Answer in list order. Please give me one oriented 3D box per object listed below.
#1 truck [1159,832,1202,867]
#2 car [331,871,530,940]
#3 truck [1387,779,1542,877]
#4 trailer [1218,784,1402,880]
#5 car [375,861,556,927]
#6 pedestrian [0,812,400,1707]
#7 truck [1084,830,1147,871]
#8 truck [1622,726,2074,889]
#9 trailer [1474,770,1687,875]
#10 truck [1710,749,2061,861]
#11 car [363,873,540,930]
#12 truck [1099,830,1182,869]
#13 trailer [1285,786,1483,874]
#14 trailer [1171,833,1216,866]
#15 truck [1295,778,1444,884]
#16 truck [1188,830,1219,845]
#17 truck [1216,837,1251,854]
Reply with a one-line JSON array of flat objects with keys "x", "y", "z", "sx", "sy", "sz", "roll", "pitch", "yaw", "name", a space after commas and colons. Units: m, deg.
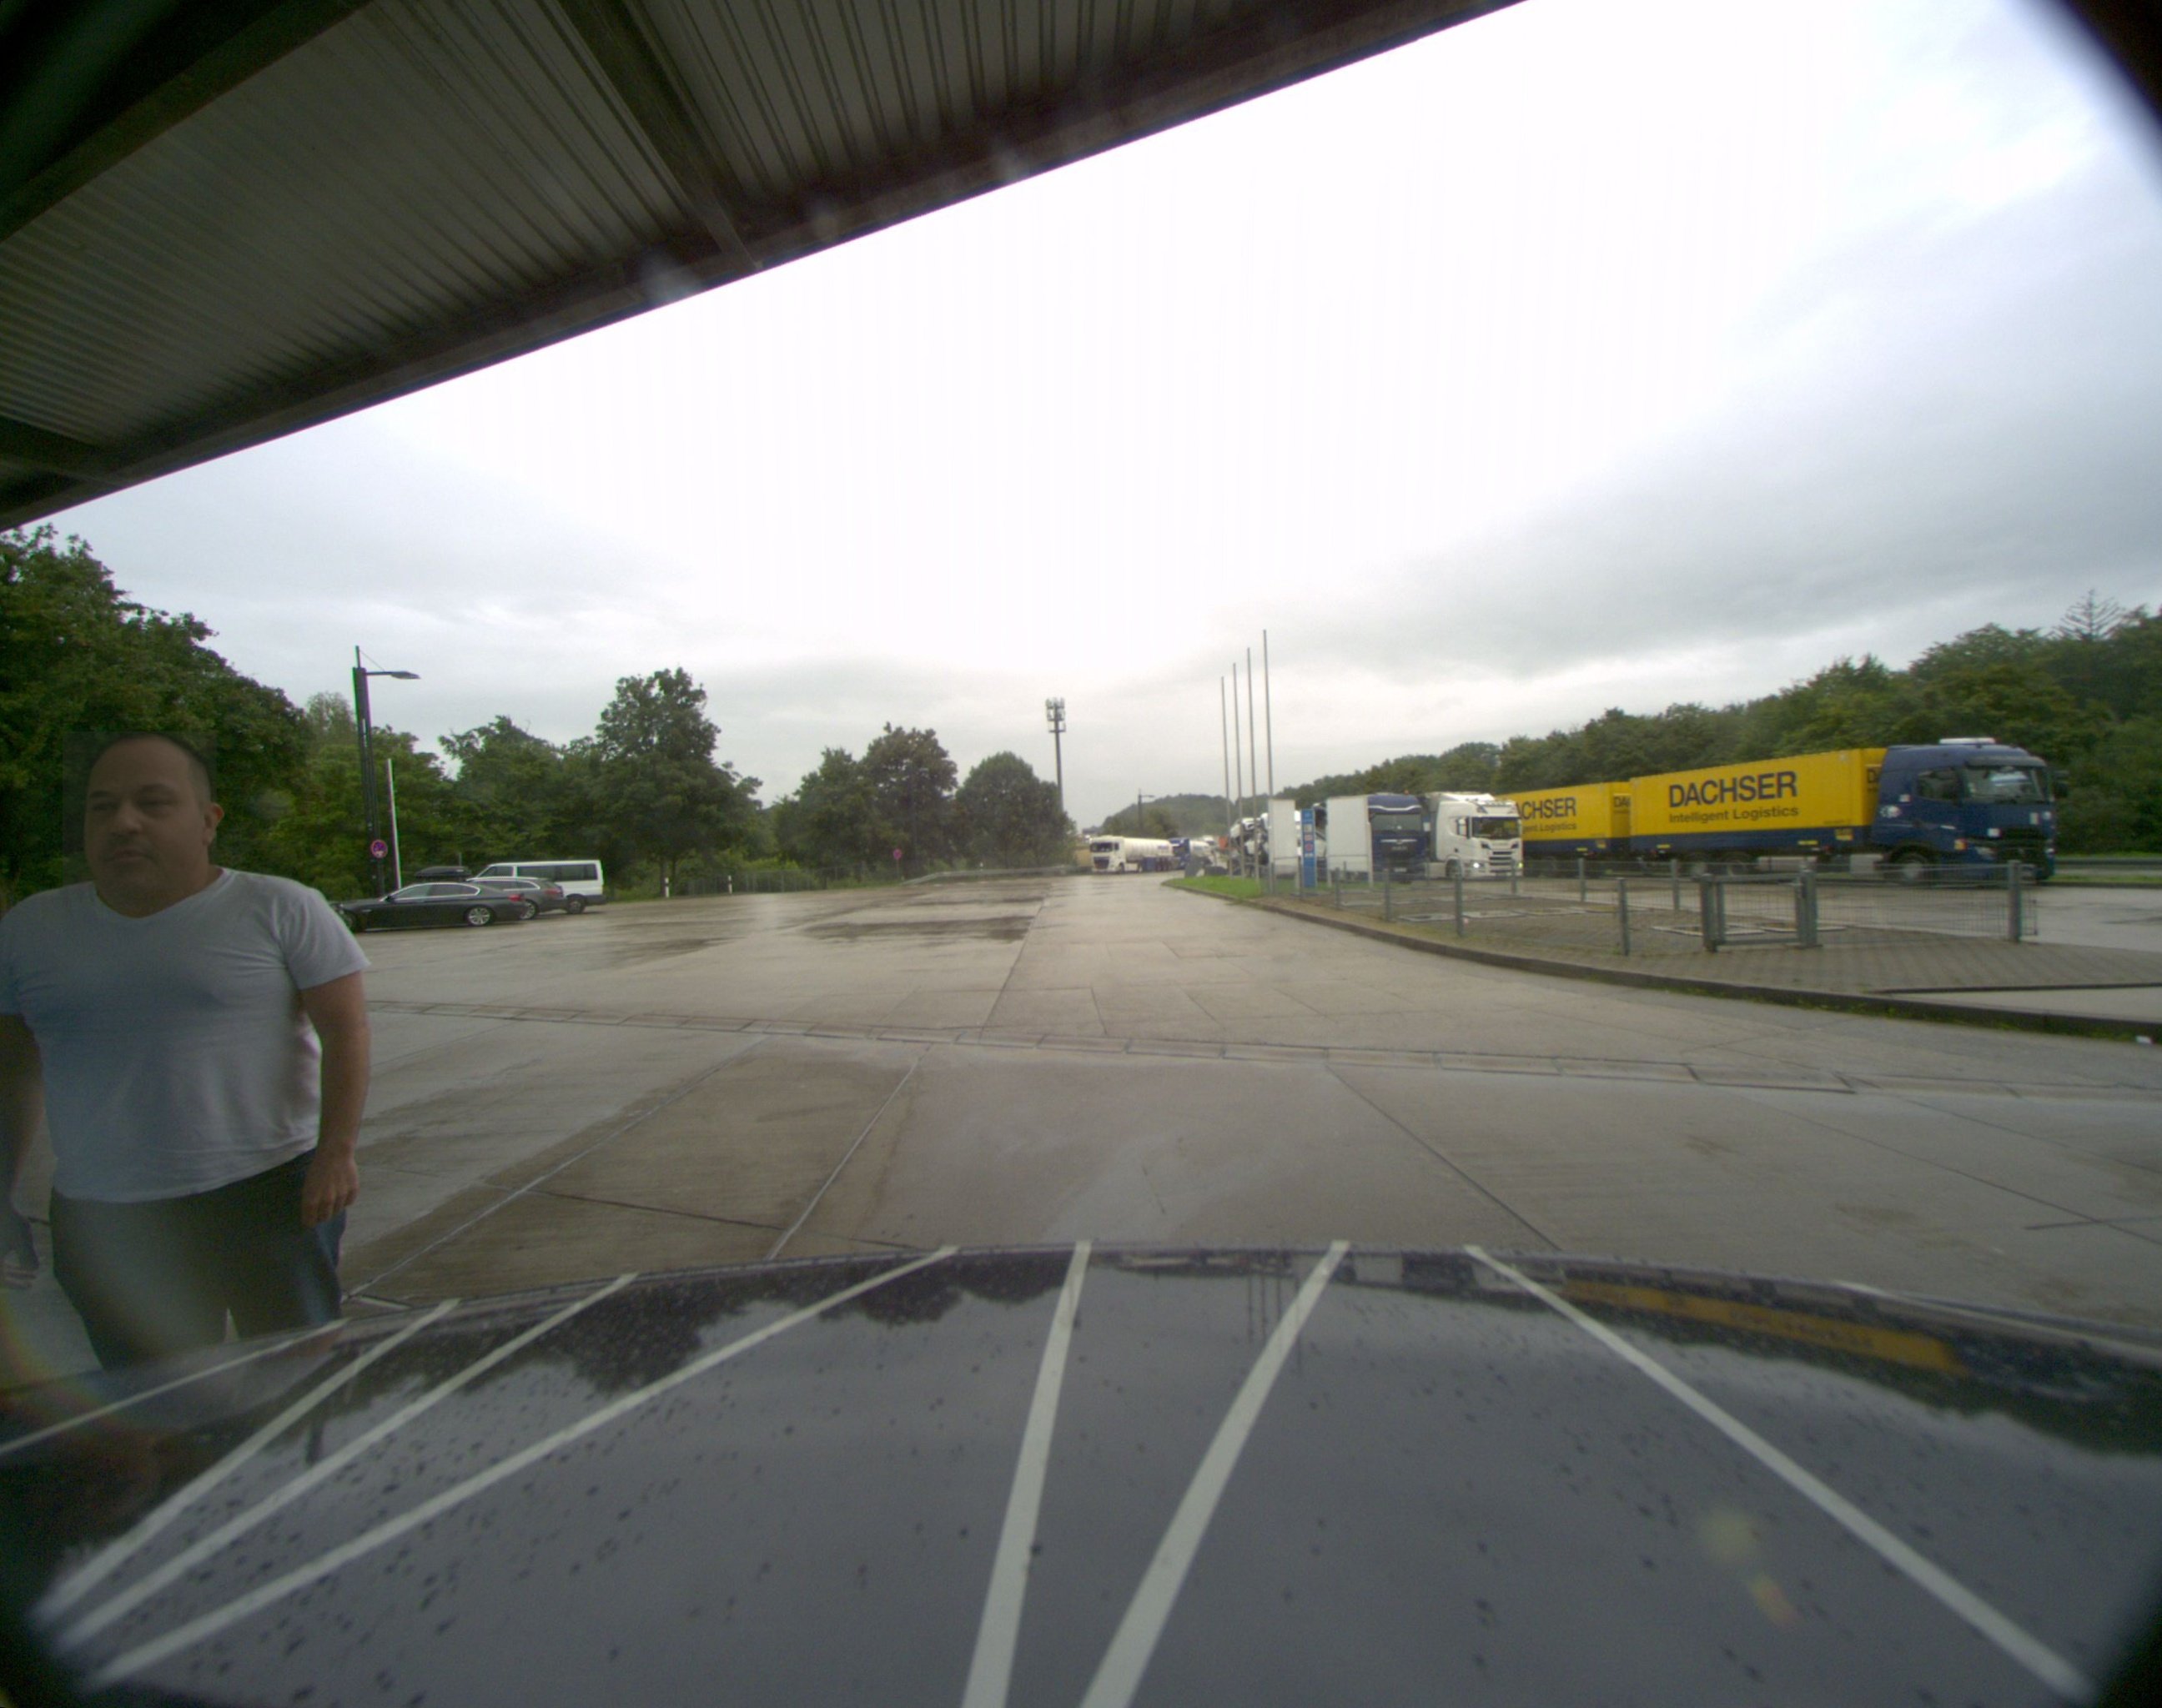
[{"x": 11.319, "y": -0.531, "z": 85.747, "sx": 3.045, "sy": 3.745, "sz": 6.475, "roll": -2, "pitch": 1, "yaw": 23, "name": "truck"}, {"x": -19.107, "y": 1.446, "z": 22.620, "sx": 4.187, "sy": 1.720, "sz": 1.995, "roll": -2, "pitch": 0, "yaw": -33, "name": "car"}, {"x": 17.405, "y": -1.123, "z": 35.112, "sx": 2.991, "sy": 4.009, "sz": 6.737, "roll": -2, "pitch": 1, "yaw": -8, "name": "truck"}, {"x": 11.367, "y": -1.004, "z": 40.952, "sx": 2.990, "sy": 4.009, "sz": 16.597, "roll": -2, "pitch": 1, "yaw": -7, "name": "trailer"}, {"x": -21.553, "y": 1.339, "z": 26.910, "sx": 4.780, "sy": 1.974, "sz": 2.010, "roll": -2, "pitch": 0, "yaw": -36, "name": "car"}, {"x": -1.892, "y": 0.833, "z": 1.514, "sx": 0.635, "sy": 1.800, "sz": 0.493, "roll": -4, "pitch": 3, "yaw": -34, "name": "pedestrian"}, {"x": 3.308, "y": -0.361, "z": 71.450, "sx": 3.243, "sy": 3.544, "sz": 6.114, "roll": -2, "pitch": 1, "yaw": 31, "name": "truck"}, {"x": 23.055, "y": -1.218, "z": 24.322, "sx": 2.774, "sy": 4.009, "sz": 10.632, "roll": -2, "pitch": 1, "yaw": -8, "name": "truck"}, {"x": 21.777, "y": -1.279, "z": 34.005, "sx": 2.774, "sy": 4.009, "sz": 8.853, "roll": -2, "pitch": 1, "yaw": -8, "name": "trailer"}, {"x": 33.768, "y": -1.825, "z": 32.946, "sx": 2.991, "sy": 4.009, "sz": 10.464, "roll": -2, "pitch": 1, "yaw": -10, "name": "truck"}, {"x": -20.357, "y": 1.473, "z": 24.846, "sx": 4.187, "sy": 1.547, "sz": 1.995, "roll": -2, "pitch": 0, "yaw": -33, "name": "car"}, {"x": 6.191, "y": -0.528, "z": 76.362, "sx": 3.243, "sy": 3.544, "sz": 11.995, "roll": -2, "pitch": 1, "yaw": 31, "name": "truck"}, {"x": 15.901, "y": -1.144, "z": 41.974, "sx": 2.992, "sy": 4.009, "sz": 13.793, "roll": -2, "pitch": 1, "yaw": -12, "name": "trailer"}, {"x": 13.659, "y": -0.658, "z": 91.454, "sx": 2.898, "sy": 3.618, "sz": 10.586, "roll": -2, "pitch": 1, "yaw": 22, "name": "trailer"}, {"x": 12.297, "y": -0.927, "z": 33.260, "sx": 2.990, "sy": 4.009, "sz": 7.259, "roll": -2, "pitch": 1, "yaw": -7, "name": "truck"}, {"x": 31.300, "y": -4.155, "z": 195.128, "sx": 3.251, "sy": 3.543, "sz": 16.548, "roll": -2, "pitch": 1, "yaw": -7, "name": "truck"}, {"x": 34.218, "y": -1.886, "z": 171.416, "sx": 3.251, "sy": 3.543, "sz": 14.657, "roll": -2, "pitch": 0, "yaw": -7, "name": "truck"}]
